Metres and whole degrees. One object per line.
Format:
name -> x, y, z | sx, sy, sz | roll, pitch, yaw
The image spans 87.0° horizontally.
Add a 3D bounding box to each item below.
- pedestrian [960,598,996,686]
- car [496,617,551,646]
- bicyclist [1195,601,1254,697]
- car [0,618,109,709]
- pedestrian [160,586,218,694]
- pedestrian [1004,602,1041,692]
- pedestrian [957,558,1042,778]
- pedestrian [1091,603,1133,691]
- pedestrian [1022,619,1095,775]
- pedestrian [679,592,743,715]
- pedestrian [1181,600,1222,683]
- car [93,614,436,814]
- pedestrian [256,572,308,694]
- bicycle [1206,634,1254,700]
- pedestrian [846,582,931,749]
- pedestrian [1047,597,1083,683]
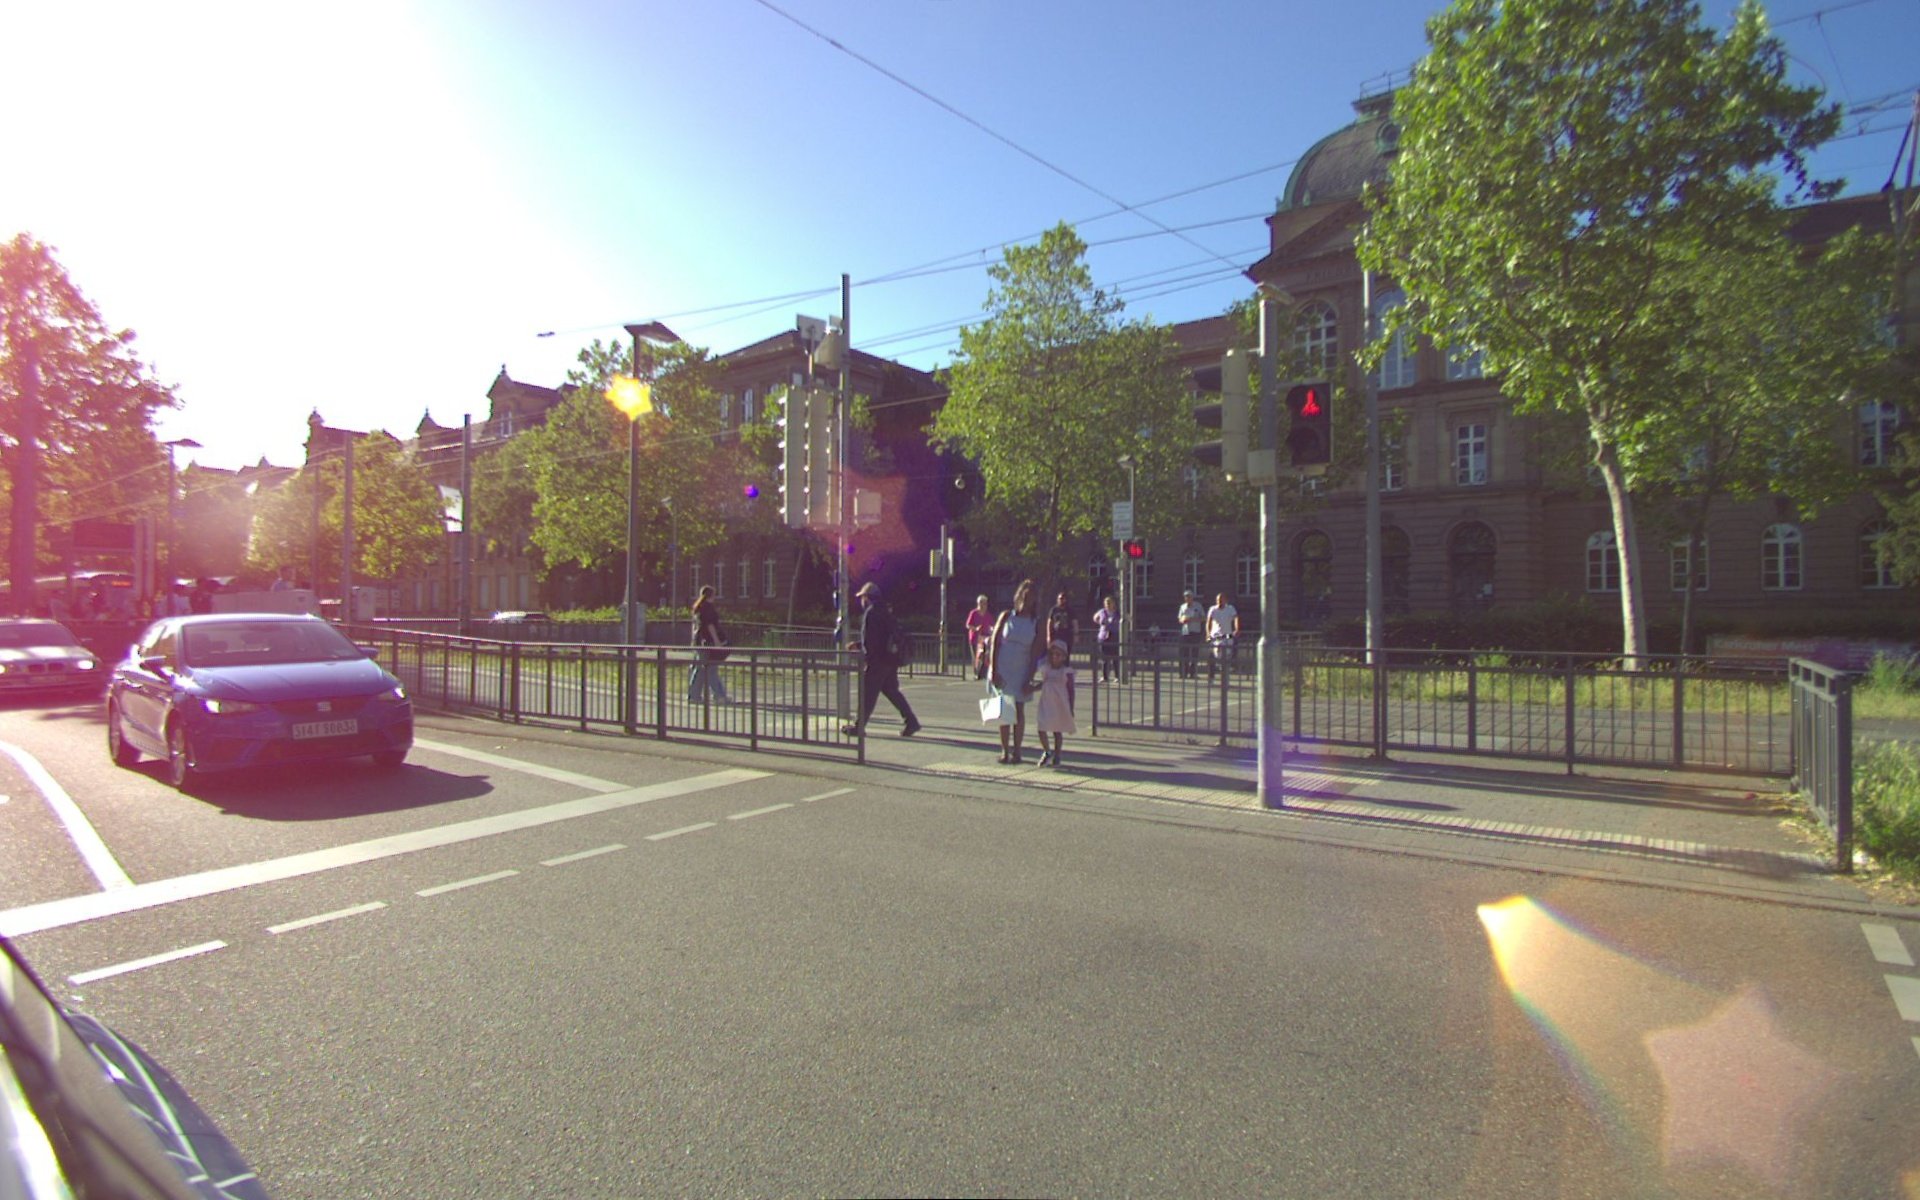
pedestrian -> 0.366, 0.844, 20.549 | 0.691, 1.758, 0.593 | -1, 0, 4
car -> -19.299, 1.378, 44.712 | 2.454, 1.206, 1.168 | -1, 0, 37
bicyclist -> 4.720, 0.861, 18.108 | 0.824, 1.656, 0.968 | -1, 0, 4
car -> -16.914, 1.064, 18.058 | 3.992, 1.439, 1.778 | -1, 0, 37
pedestrian -> -14.892, 0.755, 19.559 | 0.786, 2.029, 0.702 | -1, 0, 38
pedestrian -> 1.194, 0.888, 19.392 | 0.691, 1.689, 0.593 | -1, 0, 4
pedestrian -> 0.348, 0.562, 8.792 | 0.502, 1.820, 0.641 | -1, 0, 26
pedestrian -> 2.934, 0.895, 19.547 | 0.690, 1.656, 0.594 | -1, 0, 0
pedestrian -> 0.833, 0.790, 8.536 | 0.423, 1.242, 0.589 | -1, 0, 26
pedestrian -> -3.497, 0.731, 14.198 | 0.729, 1.674, 0.538 | -1, 0, 41
pedestrian -> 4.863, 0.827, 20.408 | 0.691, 1.633, 0.593 | -1, 0, 4
car -> -6.618, 0.888, 9.478 | 3.867, 1.459, 1.755 | -1, -1, 41
pedestrian -> -12.631, 0.595, 18.880 | 0.774, 2.204, 0.802 | -1, 0, -33
bicycle -> 4.793, 1.164, 18.031 | 0.537, 1.049, 1.661 | 0, 0, 5
pedestrian -> -0.750, 0.655, 10.547 | 0.667, 1.674, 0.572 | -1, 0, 45
pedestrian -> 2.168, 0.824, 20.969 | 0.691, 1.749, 0.593 | -1, 0, 4
